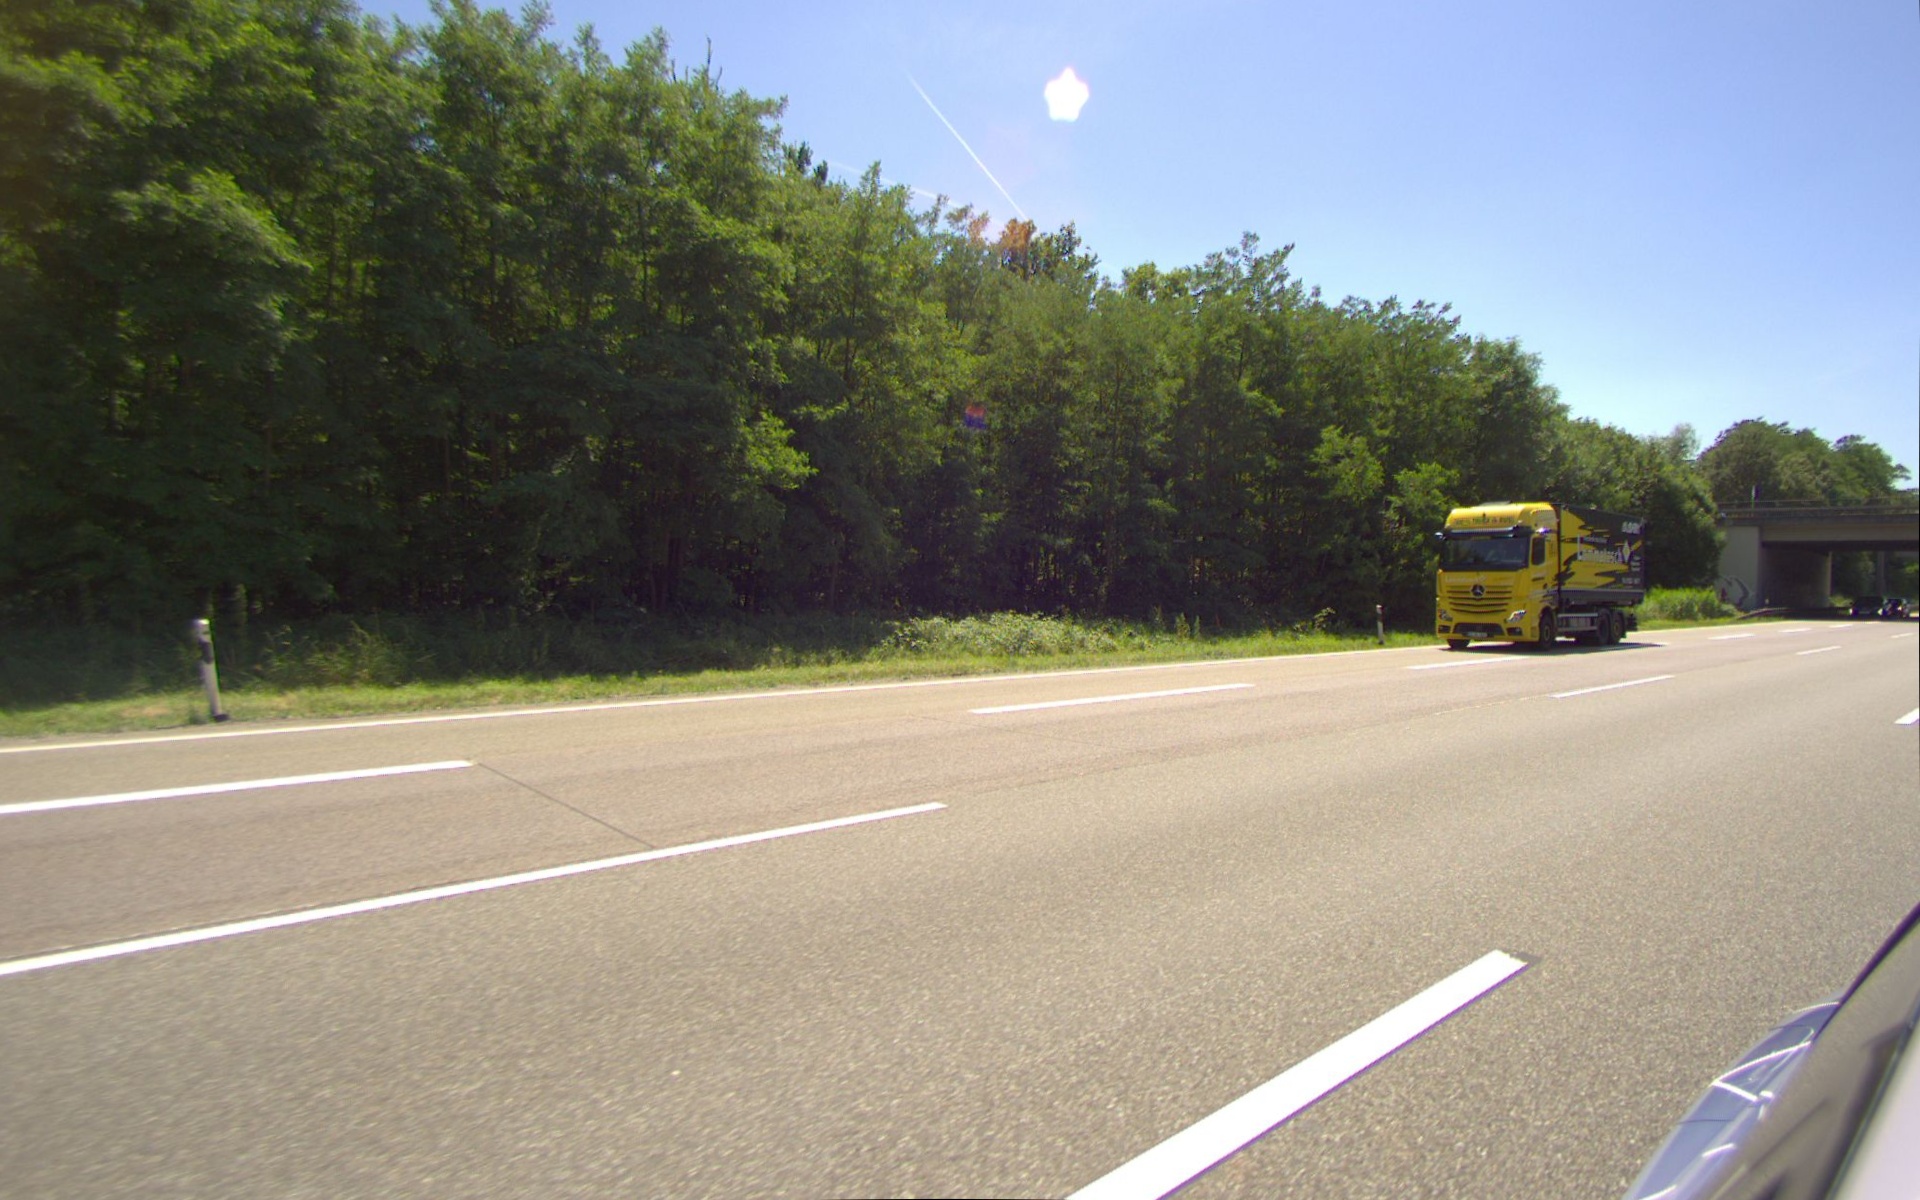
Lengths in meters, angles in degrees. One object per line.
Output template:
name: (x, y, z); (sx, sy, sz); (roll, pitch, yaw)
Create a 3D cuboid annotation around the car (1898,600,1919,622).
car: (70.242, 0.790, 74.179); (4.494, 1.465, 1.673); (-1, 1, -41)

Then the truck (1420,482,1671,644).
truck: (17.734, -0.981, 30.174); (10.787, 4.088, 2.980); (-1, 0, -40)

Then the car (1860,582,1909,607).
car: (60.209, -0.385, 65.885); (4.128, 1.575, 1.873); (-1, 1, -41)
